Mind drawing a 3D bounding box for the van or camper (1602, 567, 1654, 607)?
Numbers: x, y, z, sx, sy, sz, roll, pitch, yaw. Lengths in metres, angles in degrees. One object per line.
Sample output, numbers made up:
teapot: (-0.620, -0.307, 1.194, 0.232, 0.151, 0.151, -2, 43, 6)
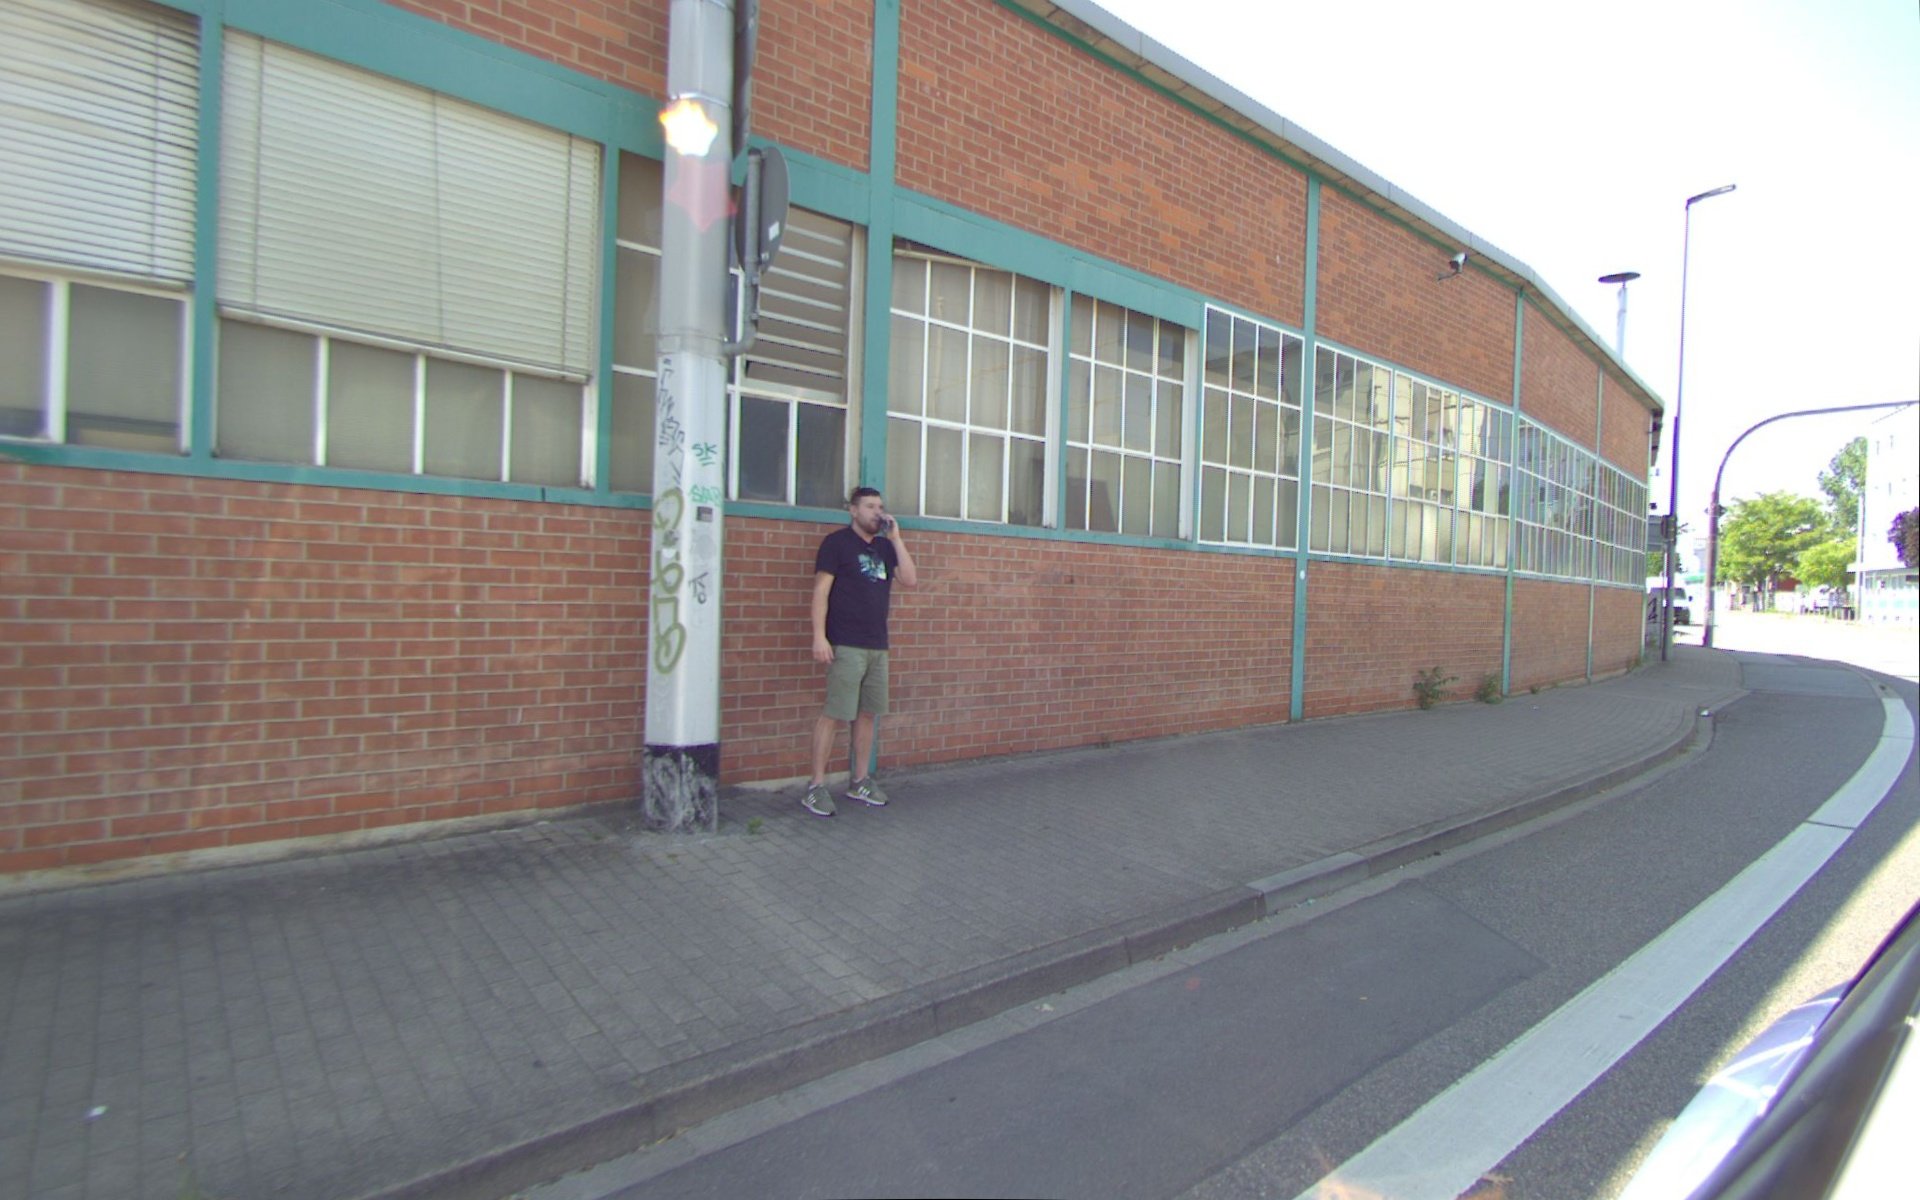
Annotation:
van or camper: (50.695, -0.985, 76.929, 2.501, 2.821, 7.048, 2, 1, 27)

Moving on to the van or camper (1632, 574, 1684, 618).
van or camper: (44.011, -0.279, 63.935, 2.026, 2.565, 5.527, 2, 1, 28)

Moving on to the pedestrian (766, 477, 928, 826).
pedestrian: (-0.616, 0.271, 5.575, 0.674, 1.787, 0.448, 4, -2, -40)

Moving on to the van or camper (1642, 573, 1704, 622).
van or camper: (40.050, -0.193, 56.980, 2.026, 2.565, 5.811, 2, 1, 28)
